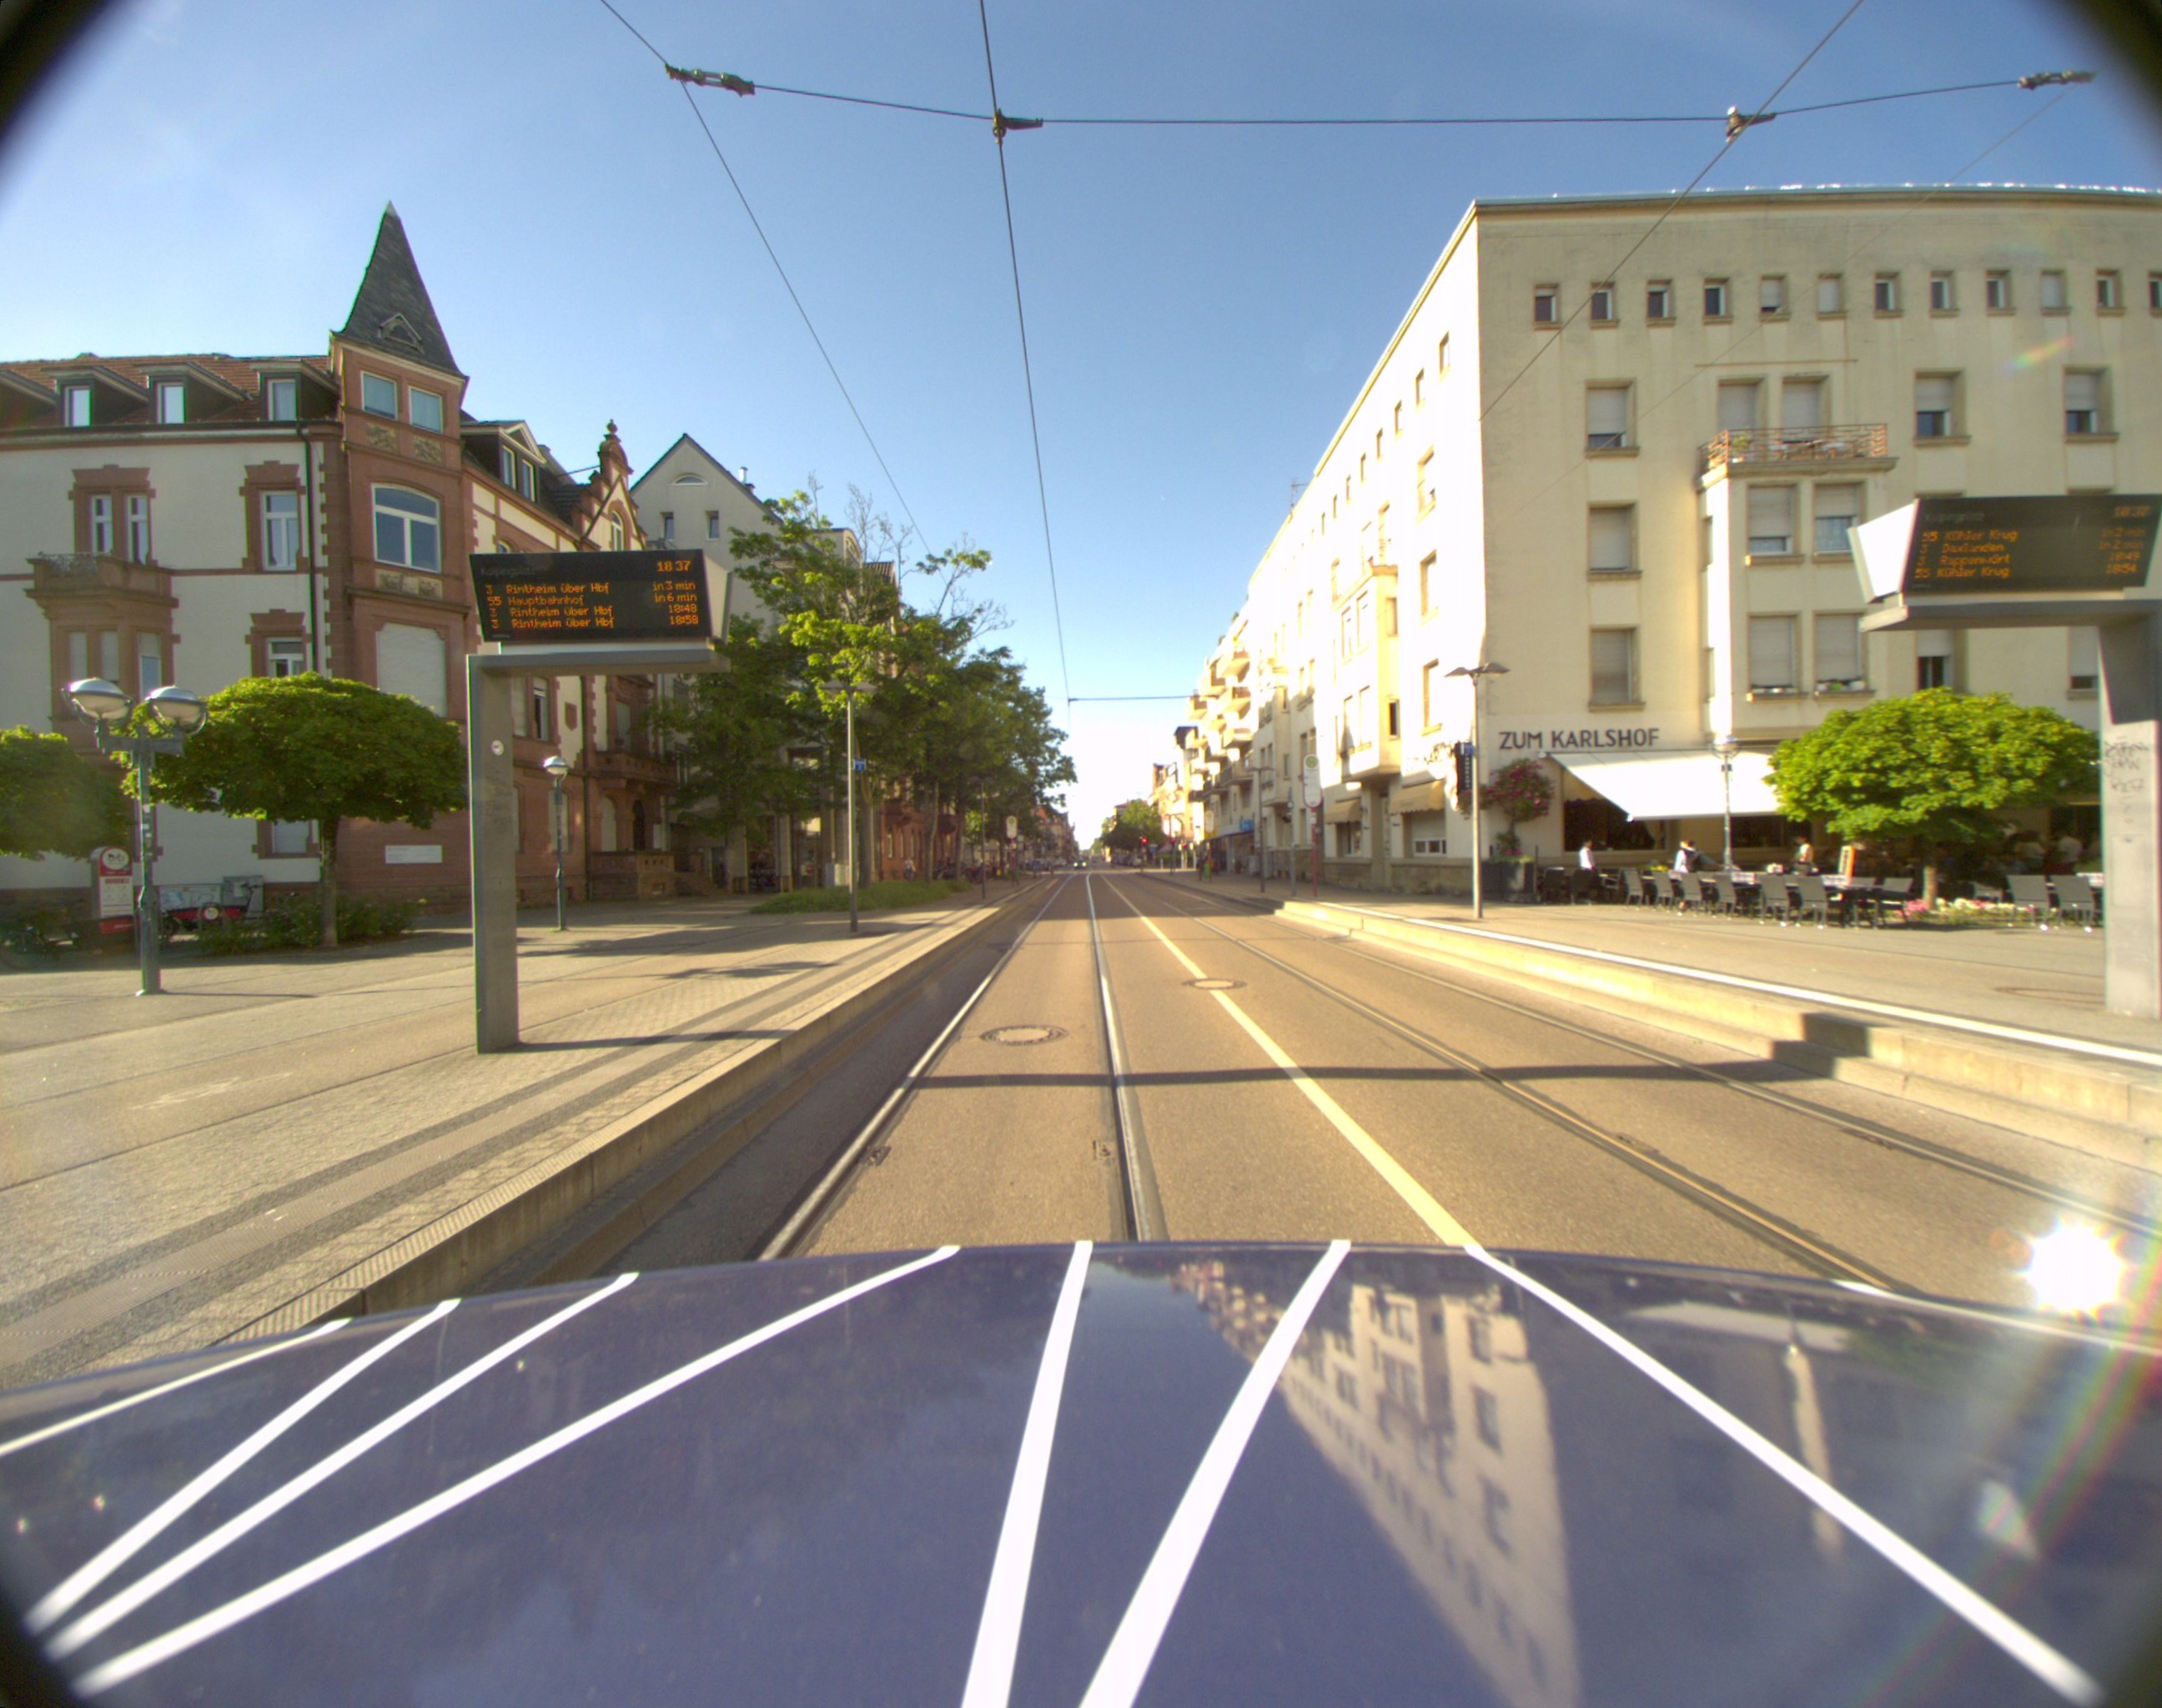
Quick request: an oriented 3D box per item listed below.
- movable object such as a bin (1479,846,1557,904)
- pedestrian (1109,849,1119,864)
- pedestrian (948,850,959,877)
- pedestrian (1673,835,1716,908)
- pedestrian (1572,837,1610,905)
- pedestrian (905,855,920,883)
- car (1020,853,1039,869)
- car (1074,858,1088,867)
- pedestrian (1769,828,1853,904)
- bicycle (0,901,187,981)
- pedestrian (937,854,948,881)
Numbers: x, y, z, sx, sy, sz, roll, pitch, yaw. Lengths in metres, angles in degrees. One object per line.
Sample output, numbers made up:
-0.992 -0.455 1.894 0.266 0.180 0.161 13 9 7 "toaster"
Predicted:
11.177 0.522 19.477 1.318 1.392 1.128 -1 1 -1 "movable object such as a bin"
4.601 0.349 105.154 1.334 1.990 1.138 -1 1 1 "pedestrian"
-9.665 0.728 57.396 0.653 2.002 0.559 -2 1 3 "pedestrian"
14.106 0.422 17.476 0.672 1.634 0.678 -2 -3 43 "pedestrian"
12.587 0.424 18.766 0.672 1.634 0.752 -1 -2 28 "pedestrian"
-10.479 0.929 47.268 0.742 1.725 0.877 -2 1 -6 "pedestrian"
-7.120 0.951 104.952 1.998 2.002 4.001 -2 0 4 "car"
0.060 1.262 115.245 1.998 1.318 3.863 -2 0 1 "car"
15.924 0.272 16.598 1.066 1.634 0.757 0 -2 -4 "pedestrian"
-18.185 1.518 13.814 0.790 1.062 2.804 -2 2 -8 "bicycle"
-10.488 1.025 57.405 0.653 2.002 0.559 -2 1 3 "pedestrian"
